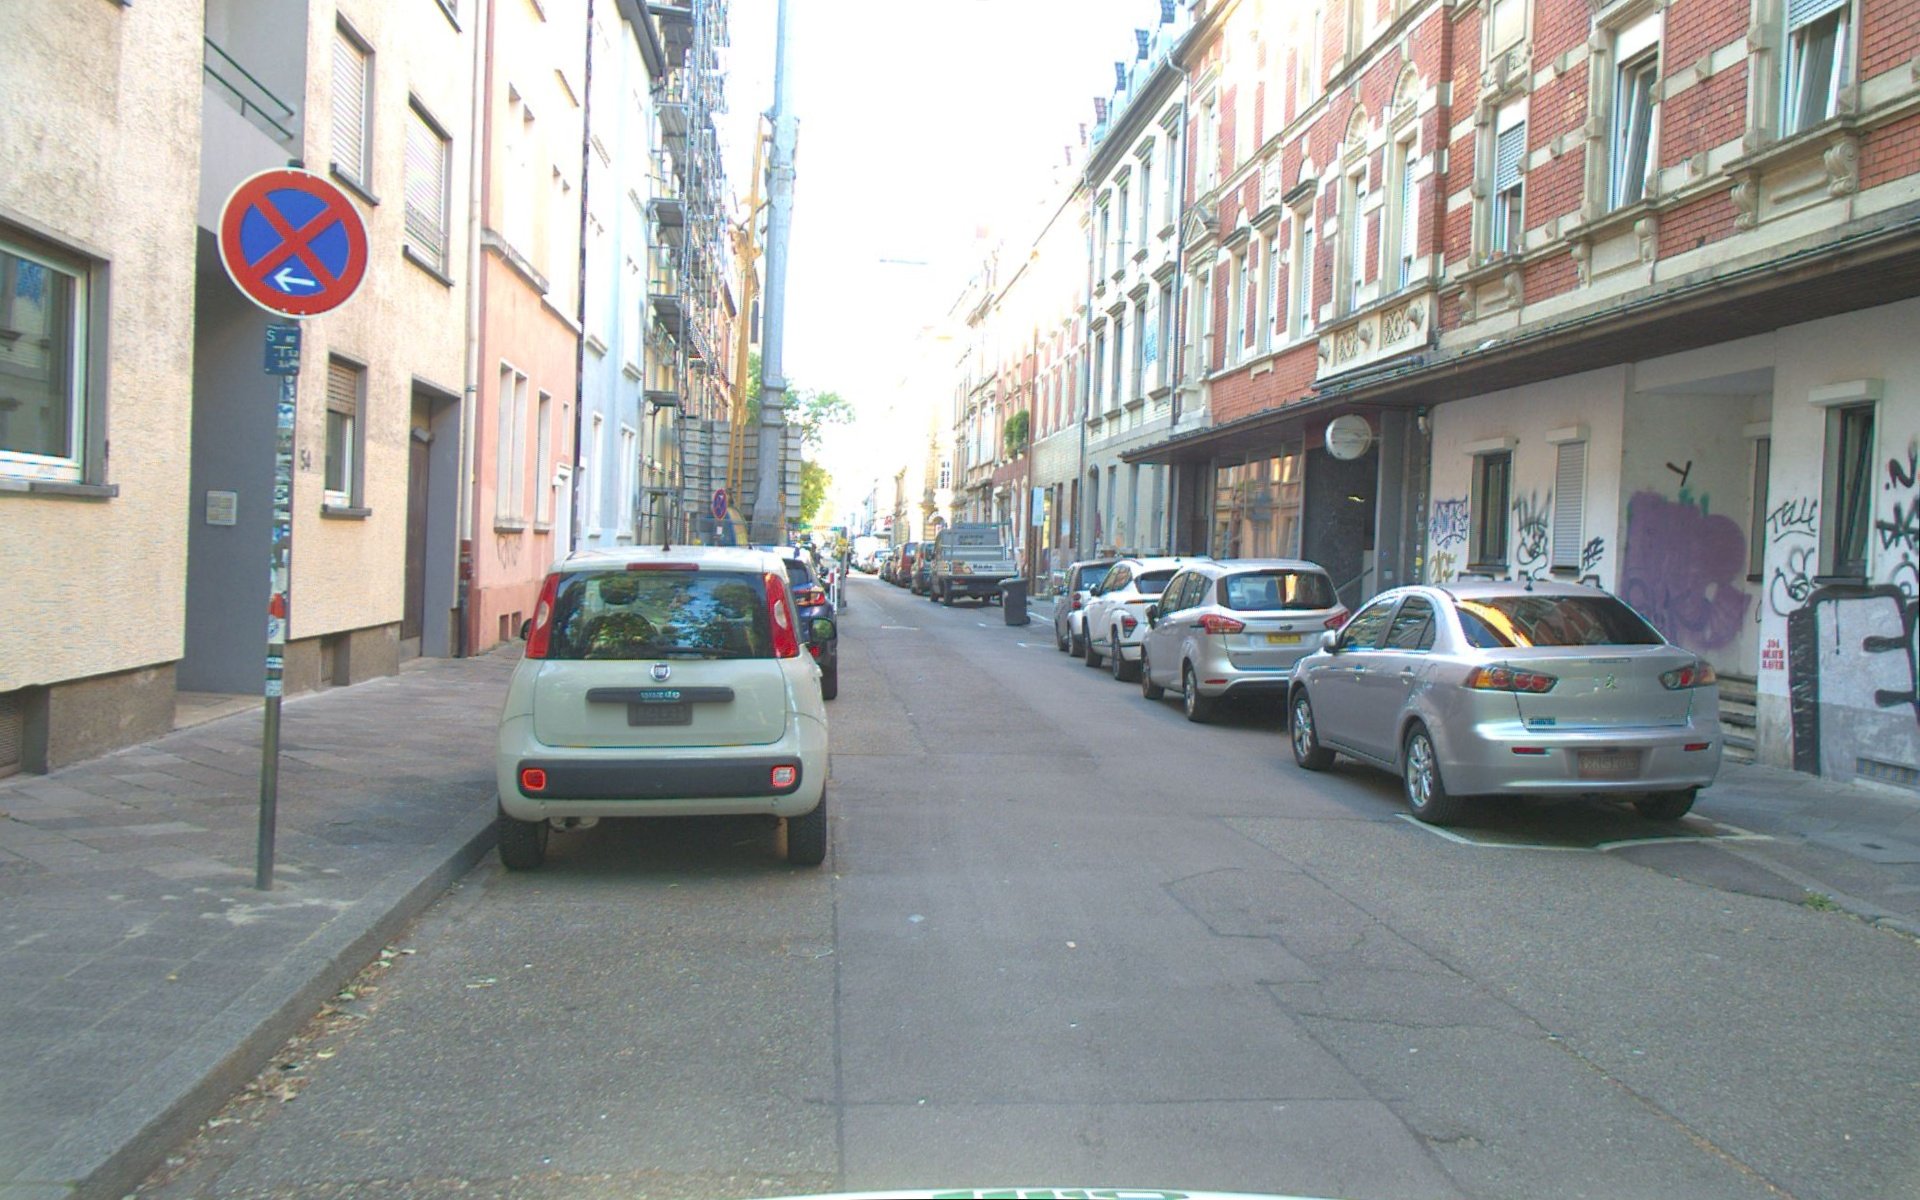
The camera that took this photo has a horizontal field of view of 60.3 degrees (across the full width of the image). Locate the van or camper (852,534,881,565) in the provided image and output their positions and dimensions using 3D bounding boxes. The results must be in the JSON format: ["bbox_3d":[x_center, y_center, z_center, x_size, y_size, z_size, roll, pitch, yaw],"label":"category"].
[{"bbox_3d":[-7.899,-4.290,139.541,1.957,2.552,4.194,0,2,-9],"label":"van or camper"}]

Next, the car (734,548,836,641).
[{"bbox_3d":[-3.089,-0.150,29.499,1.642,1.503,4.603,1,1,-5],"label":"car"}]

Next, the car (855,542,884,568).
[{"bbox_3d":[-6.857,-3.431,125.041,1.955,1.881,3.995,1,2,-6],"label":"car"}]

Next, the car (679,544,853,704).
[{"bbox_3d":[-2.184,0.172,18.497,1.696,1.566,4.371,0,2,-7],"label":"car"}]

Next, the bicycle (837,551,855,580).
[{"bbox_3d":[-5.015,-1.522,72.627,0.710,1.207,2.041,3,2,-5],"label":"bicycle"}]

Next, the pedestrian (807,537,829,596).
[{"bbox_3d":[-4.323,-1.020,50.273,0.645,1.762,0.719,0,2,-6],"label":"pedestrian"}]

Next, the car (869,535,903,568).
[{"bbox_3d":[-5.001,-3.279,111.115,1.955,2.048,3.995,2,2,-6],"label":"car"}]

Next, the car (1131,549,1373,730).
[{"bbox_3d":[3.003,0.328,17.775,1.608,1.685,3.866,2,1,-4],"label":"car"}]

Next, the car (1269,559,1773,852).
[{"bbox_3d":[3.643,0.560,11.696,1.688,1.589,4.394,2,2,-5],"label":"car"}]

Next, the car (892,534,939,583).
[{"bbox_3d":[-1.993,-1.834,73.360,1.643,2.066,3.863,1,1,-7],"label":"car"}]

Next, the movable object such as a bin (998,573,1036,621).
[{"bbox_3d":[1.318,-0.069,38.328,0.779,1.074,0.659,2,1,-5],"label":"movable object such as a bin"}]

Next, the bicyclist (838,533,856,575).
[{"bbox_3d":[-4.967,-2.005,72.510,0.716,1.791,0.835,2,2,-5],"label":"bicyclist"}]

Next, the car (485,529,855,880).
[{"bbox_3d":[-1.548,0.420,9.418,1.643,1.566,3.863,1,2,-7],"label":"car"}]

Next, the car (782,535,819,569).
[{"bbox_3d":[-7.817,-2.366,80.964,1.643,1.598,3.863,1,1,-7],"label":"car"}]

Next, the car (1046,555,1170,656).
[{"bbox_3d":[2.493,0.046,28.638,1.565,1.587,3.812,1,2,-4],"label":"car"}]

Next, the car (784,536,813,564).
[{"bbox_3d":[-11.164,-3.478,114.182,1.955,1.881,3.995,1,2,-6],"label":"car"}]

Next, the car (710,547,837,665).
[{"bbox_3d":[-2.670,0.022,24.075,1.642,1.538,4.410,1,1,-5],"label":"car"}]

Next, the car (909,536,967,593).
[{"bbox_3d":[-0.840,-1.327,60.941,1.643,1.997,4.103,1,1,-7],"label":"car"}]

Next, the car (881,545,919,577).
[{"bbox_3d":[-3.158,-2.055,86.785,1.643,1.598,3.863,1,1,-7],"label":"car"}]

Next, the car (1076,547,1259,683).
[{"bbox_3d":[2.821,0.135,23.408,1.712,1.704,4.337,1,1,-4],"label":"car"}]

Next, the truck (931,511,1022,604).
[{"bbox_3d":[0.441,-1.314,50.520,2.148,2.652,5.228,1,2,-6],"label":"truck"}]
